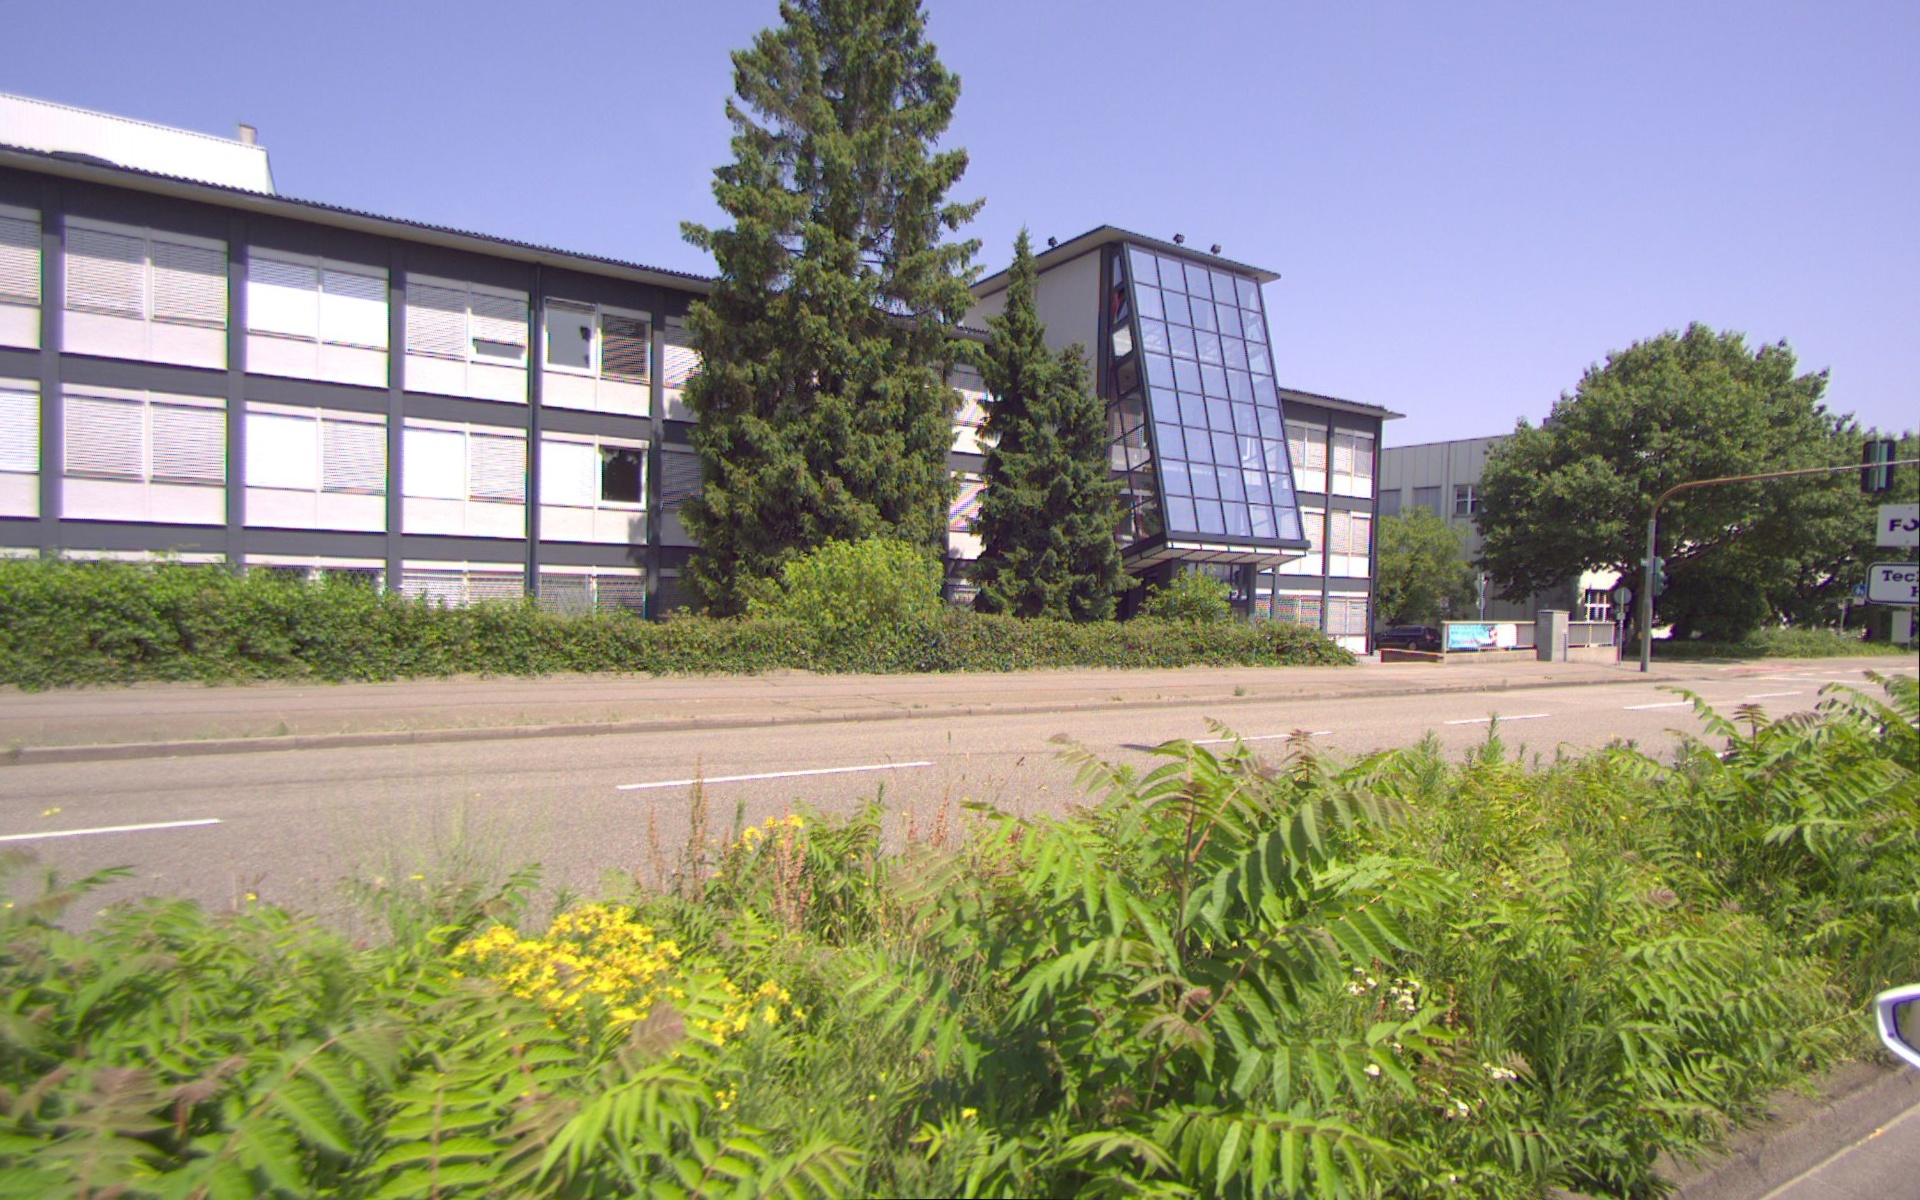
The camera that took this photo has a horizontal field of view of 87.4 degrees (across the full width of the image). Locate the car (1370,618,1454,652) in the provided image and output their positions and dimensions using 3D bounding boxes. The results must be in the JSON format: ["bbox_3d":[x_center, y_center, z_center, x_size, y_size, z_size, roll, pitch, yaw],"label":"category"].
[{"bbox_3d":[26.127,2.012,58.168,1.899,1.617,3.963,2,2,-33],"label":"car"}]
